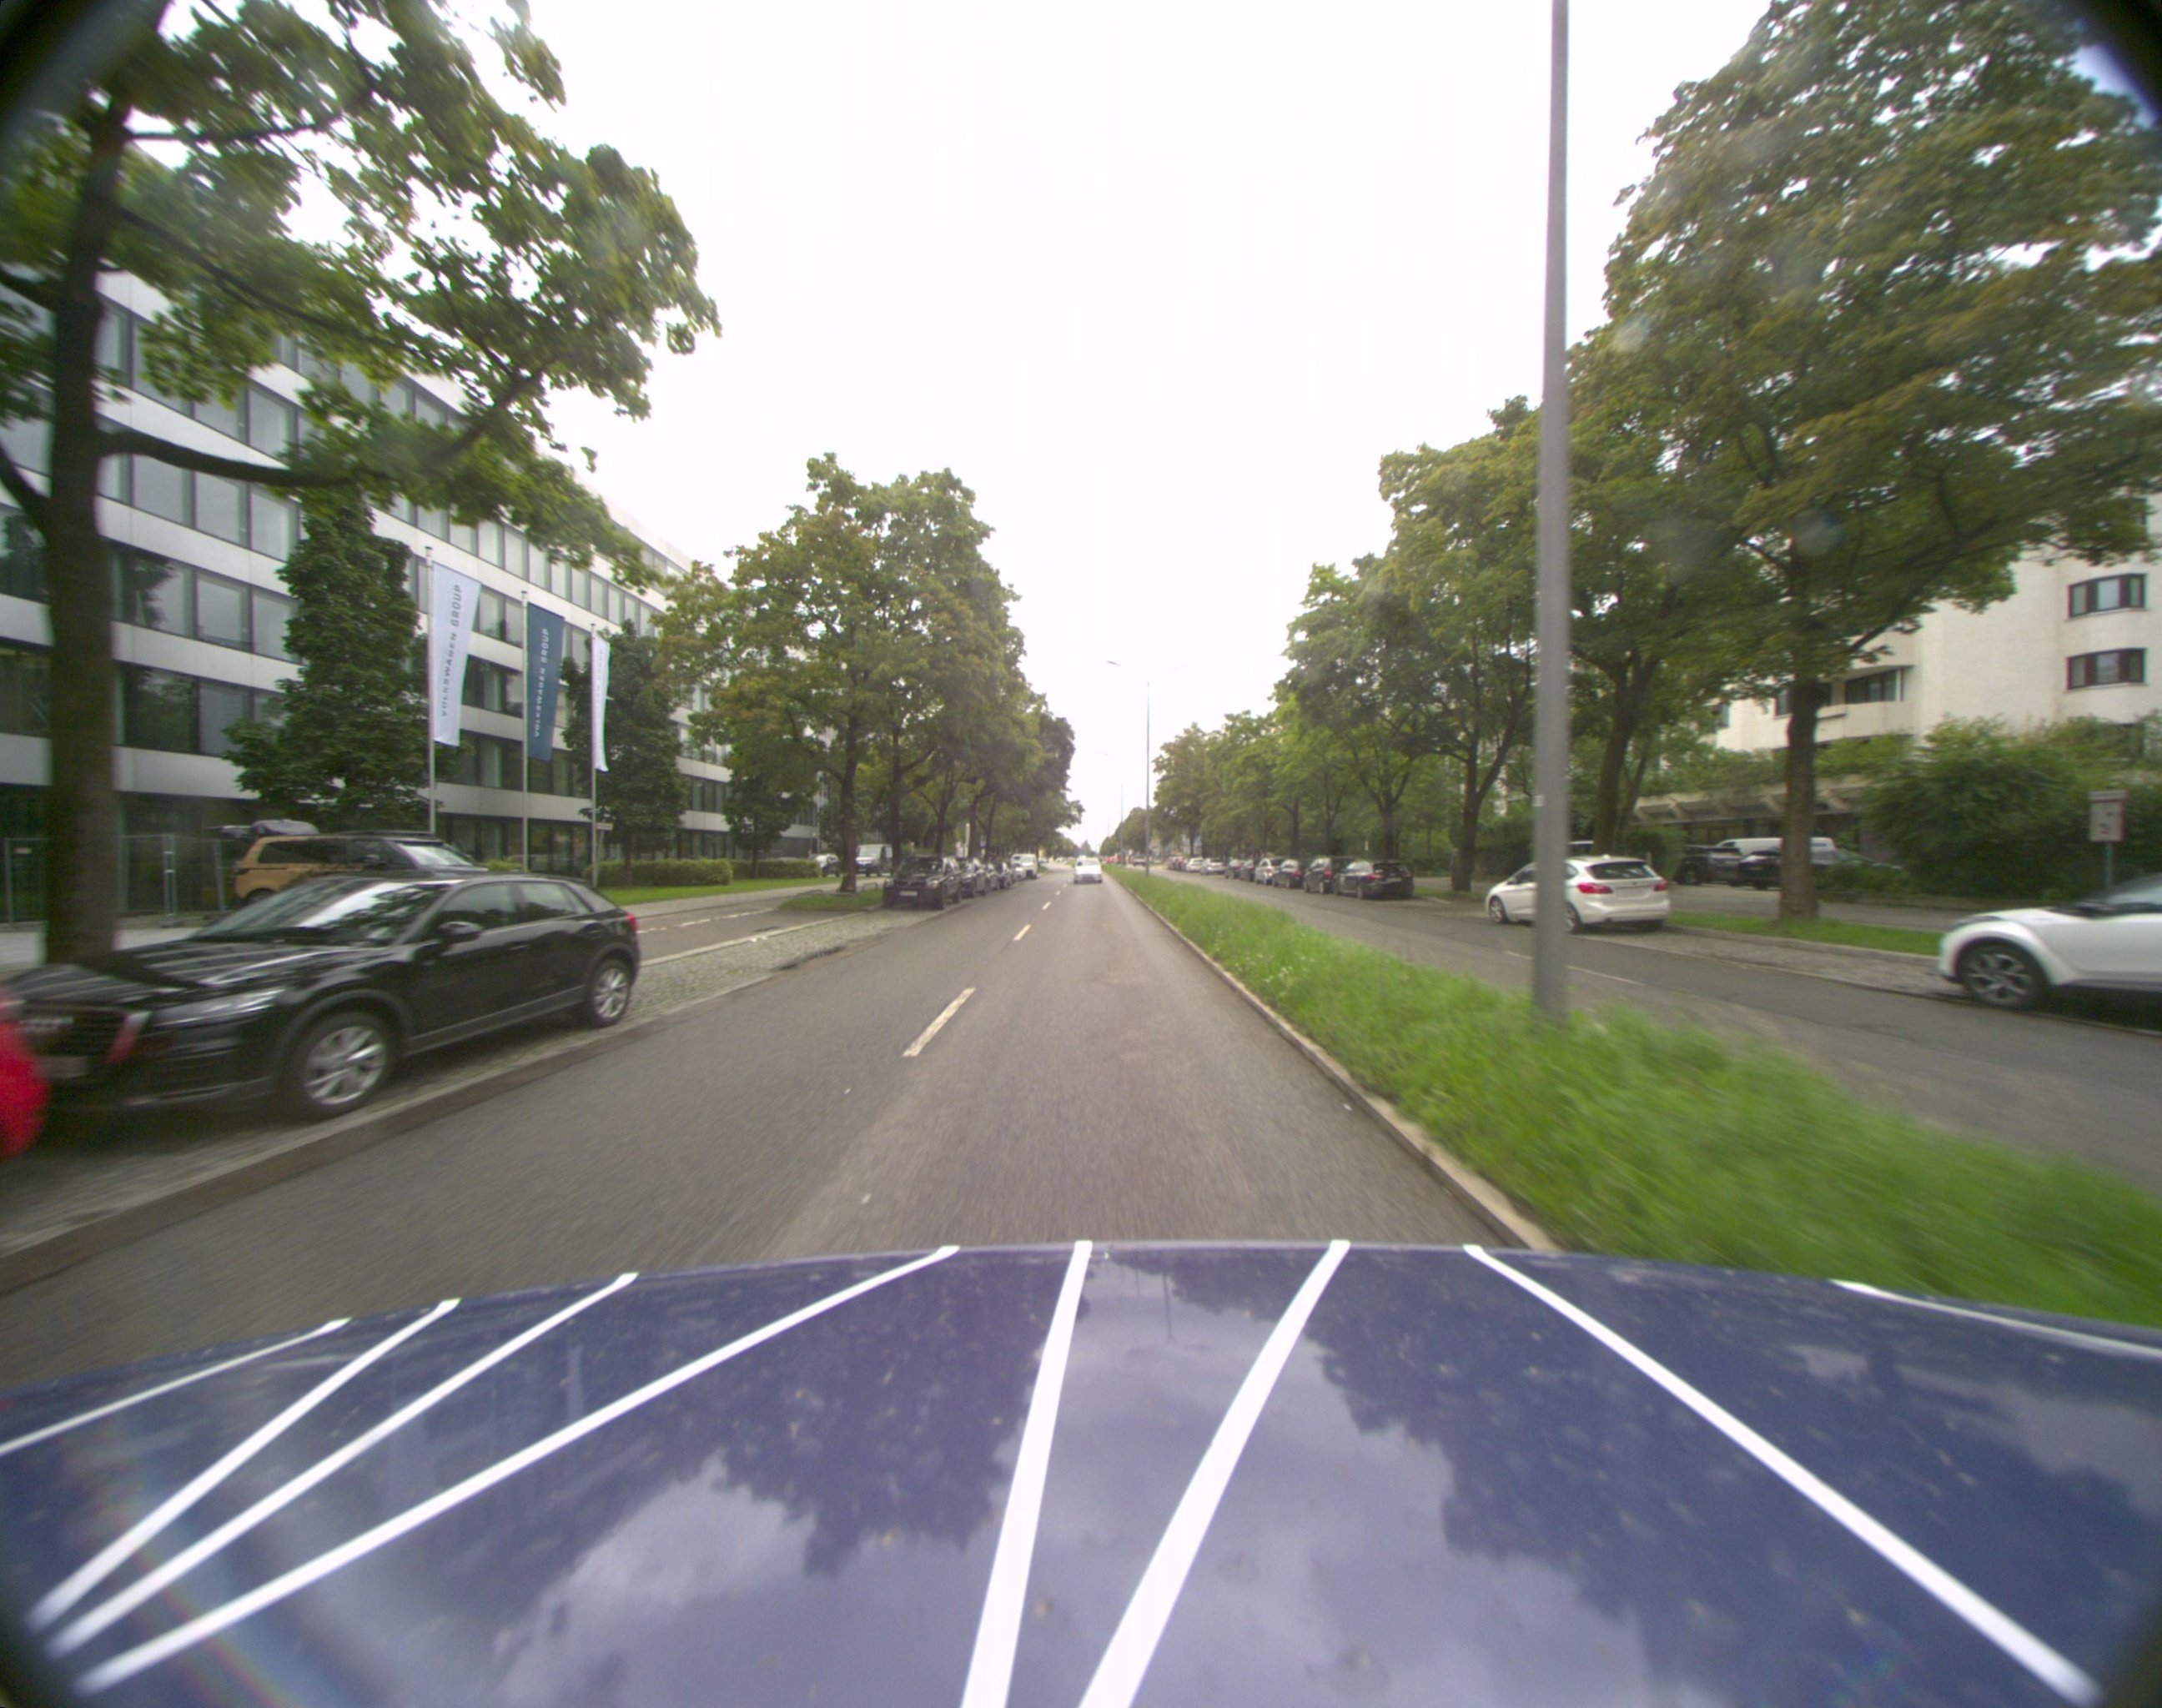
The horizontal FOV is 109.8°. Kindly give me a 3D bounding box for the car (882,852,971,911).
[{"bbox_3d":[-5.011,0.823,25.316,1.897,1.789,4.861,0,0,1],"label":"car"}]

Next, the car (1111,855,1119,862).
[{"bbox_3d":[8.045,0.976,182.123,1.770,1.615,4.376,0,0,1],"label":"car"}]

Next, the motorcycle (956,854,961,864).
[{"bbox_3d":[-16.221,0.696,100.570,0.550,1.311,2.071,0,0,-14],"label":"motorcycle"}]

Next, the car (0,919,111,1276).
[{"bbox_3d":[-5.498,1.052,1.618,1.679,1.492,4.021,2,0,1],"label":"car"}]

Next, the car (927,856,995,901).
[{"bbox_3d":[-4.835,0.927,31.230,1.817,1.666,4.800,0,0,3],"label":"car"}]

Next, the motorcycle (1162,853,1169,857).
[{"bbox_3d":[22.953,0.244,205.849,1.814,1.164,0.464,0,1,-4],"label":"motorcycle"}]

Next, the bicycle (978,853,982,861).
[{"bbox_3d":[-15.939,0.445,120.224,0.447,1.182,1.954,0,0,-2],"label":"bicycle"}]

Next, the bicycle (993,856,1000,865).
[{"bbox_3d":[-12.229,0.940,109.877,0.531,1.219,1.863,2,-1,5],"label":"bicycle"}]

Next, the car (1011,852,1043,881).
[{"bbox_3d":[-4.242,0.957,60.538,1.992,2.145,5.555,0,0,1],"label":"car"}]

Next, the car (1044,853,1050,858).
[{"bbox_3d":[-10.154,0.579,228.823,1.590,1.495,3.735,0,0,1],"label":"car"}]

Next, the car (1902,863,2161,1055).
[{"bbox_3d":[10.484,0.944,6.618,1.836,1.600,4.491,-3,0,2],"label":"car"}]

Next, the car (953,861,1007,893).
[{"bbox_3d":[-4.807,1.052,36.749,1.705,1.400,4.513,0,0,4],"label":"car"}]

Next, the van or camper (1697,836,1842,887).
[{"bbox_3d":[27.282,0.272,30.337,1.861,1.860,4.431,0,0,2],"label":"van or camper"}]

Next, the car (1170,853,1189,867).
[{"bbox_3d":[12.061,0.773,93.215,1.743,1.634,4.684,-2,0,1],"label":"car"}]

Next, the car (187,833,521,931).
[{"bbox_3d":[-16.244,0.599,17.233,5.484,2.071,2.147,0,0,0],"label":"car"}]

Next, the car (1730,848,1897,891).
[{"bbox_3d":[25.084,0.504,26.118,3.987,1.409,1.862,0,0,-1],"label":"car"}]

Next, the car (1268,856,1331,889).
[{"bbox_3d":[11.101,0.899,38.979,1.720,1.515,5.034,-3,0,0],"label":"car"}]

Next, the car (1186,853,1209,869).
[{"bbox_3d":[11.825,0.643,77.248,1.743,1.521,4.475,-2,0,1],"label":"car"}]

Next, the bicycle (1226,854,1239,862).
[{"bbox_3d":[20.515,0.568,102.863,1.766,1.001,0.436,0,0,1],"label":"bicycle"}]

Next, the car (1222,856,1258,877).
[{"bbox_3d":[11.352,0.869,54.434,1.584,1.415,4.362,-3,0,0],"label":"car"}]

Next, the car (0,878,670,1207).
[{"bbox_3d":[-5.441,1.041,6.080,1.783,1.502,4.285,2,0,3],"label":"car"}]

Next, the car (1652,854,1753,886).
[{"bbox_3d":[24.345,0.594,29.896,1.459,1.192,3.127,0,0,2],"label":"car"}]

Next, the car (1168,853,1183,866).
[{"bbox_3d":[12.282,0.741,98.693,1.651,1.605,3.819,-2,0,2],"label":"car"}]

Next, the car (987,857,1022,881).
[{"bbox_3d":[-4.822,0.930,48.443,1.706,1.438,3.978,0,0,1],"label":"car"}]

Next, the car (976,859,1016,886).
[{"bbox_3d":[-4.772,0.993,43.245,1.706,1.413,4.121,0,0,1],"label":"car"}]

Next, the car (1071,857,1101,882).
[{"bbox_3d":[0.324,0.882,44.936,1.679,1.433,3.735,0,0,1],"label":"car"}]

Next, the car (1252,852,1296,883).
[{"bbox_3d":[11.222,0.764,44.352,1.629,1.638,3.868,-3,0,2],"label":"car"}]

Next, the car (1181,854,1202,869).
[{"bbox_3d":[11.973,0.796,82.459,1.743,1.474,4.334,-2,0,1],"label":"car"}]

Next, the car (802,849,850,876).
[{"bbox_3d":[-17.671,0.560,52.860,1.847,1.807,4.471,0,0,-1],"label":"car"}]

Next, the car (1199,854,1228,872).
[{"bbox_3d":[11.740,0.788,67.598,1.741,1.440,4.822,-3,0,0],"label":"car"}]

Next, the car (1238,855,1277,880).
[{"bbox_3d":[11.298,0.845,48.842,1.629,1.415,4.192,-3,0,2],"label":"car"}]

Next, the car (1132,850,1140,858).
[{"bbox_3d":[14.291,-0.103,196.165,1.801,1.986,4.546,0,0,1],"label":"car"}]

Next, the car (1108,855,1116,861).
[{"bbox_3d":[8.147,1.068,199.940,1.920,1.475,4.864,0,0,-1],"label":"car"}]

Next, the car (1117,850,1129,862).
[{"bbox_3d":[7.377,0.381,133.249,1.785,2.017,4.818,0,0,0],"label":"car"}]

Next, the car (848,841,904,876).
[{"bbox_3d":[-14.284,0.319,53.391,2.271,2.293,6.267,0,0,-1],"label":"car"}]

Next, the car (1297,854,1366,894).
[{"bbox_3d":[10.960,0.831,33.566,1.689,1.587,4.210,-3,0,2],"label":"car"}]

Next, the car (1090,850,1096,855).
[{"bbox_3d":[3.813,-0.464,247.843,1.787,1.397,4.101,0,0,-1],"label":"car"}]

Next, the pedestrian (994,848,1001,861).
[{"bbox_3d":[-11.869,0.098,107.727,0.651,1.888,0.750,0,0,27],"label":"pedestrian"}]

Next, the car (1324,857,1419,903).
[{"bbox_3d":[10.877,0.920,28.815,1.764,1.504,4.948,-3,0,2],"label":"car"}]

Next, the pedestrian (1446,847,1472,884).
[{"bbox_3d":[16.833,0.503,33.857,0.850,1.646,0.609,0,1,4],"label":"pedestrian"}]

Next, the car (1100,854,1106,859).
[{"bbox_3d":[6.476,0.609,225.158,1.962,1.471,4.259,0,0,1],"label":"car"}]

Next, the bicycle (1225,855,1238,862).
[{"bbox_3d":[20.517,0.585,103.457,1.766,1.001,0.436,0,0,1],"label":"bicycle"}]

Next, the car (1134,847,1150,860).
[{"bbox_3d":[10.180,-0.078,127.611,2.214,2.181,5.799,0,0,0],"label":"car"}]

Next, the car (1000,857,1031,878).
[{"bbox_3d":[-4.638,0.952,54.206,1.706,1.389,4.233,0,0,1],"label":"car"}]

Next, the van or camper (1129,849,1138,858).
[{"bbox_3d":[14.654,-0.240,211.685,2.055,2.472,5.548,0,0,0],"label":"van or camper"}]

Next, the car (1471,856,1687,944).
[{"bbox_3d":[10.659,0.891,16.742,1.761,1.585,4.489,-3,0,0],"label":"car"}]

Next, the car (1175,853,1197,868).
[{"bbox_3d":[12.035,0.744,87.474,1.743,1.642,4.606,-2,0,-1],"label":"car"}]

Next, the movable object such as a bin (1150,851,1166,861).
[{"bbox_3d":[14.446,0.373,142.812,2.199,1.941,3.998,0,0,-5],"label":"movable object such as a bin"}]
